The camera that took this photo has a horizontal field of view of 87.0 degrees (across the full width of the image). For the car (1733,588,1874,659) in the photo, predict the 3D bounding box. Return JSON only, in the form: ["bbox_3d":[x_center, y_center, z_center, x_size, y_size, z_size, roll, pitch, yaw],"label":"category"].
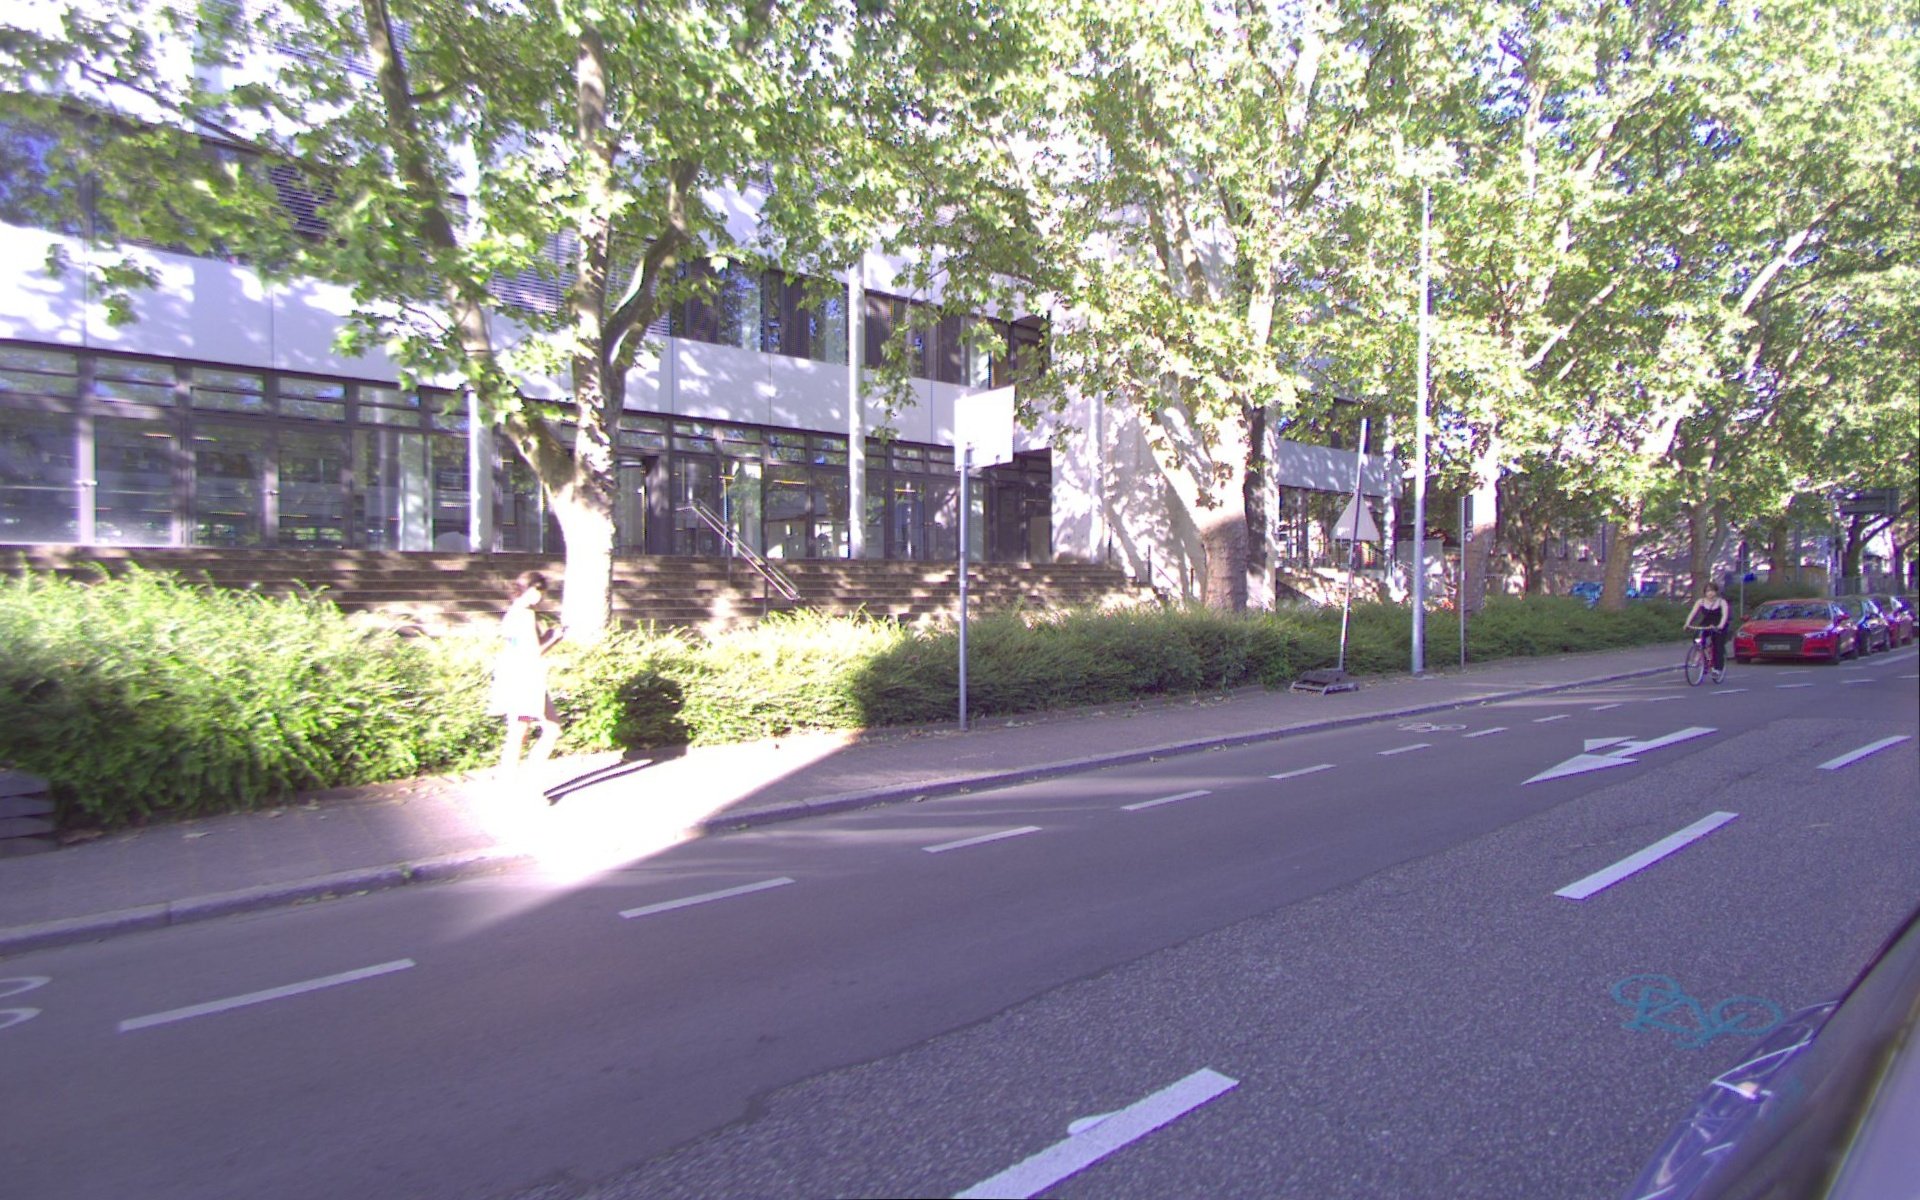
[{"bbox_3d":[19.122,0.463,22.885,4.007,1.461,1.896,-1,1,-42],"label":"car"}]

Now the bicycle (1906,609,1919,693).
[{"bbox_3d":[14.533,0.698,14.763,2.767,1.150,0.769,0,-2,-41],"label":"bicycle"}]

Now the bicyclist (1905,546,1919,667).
[{"bbox_3d":[14.548,0.069,14.857,0.885,1.755,0.769,-1,-3,-41],"label":"bicyclist"}]

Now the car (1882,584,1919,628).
[{"bbox_3d":[33.832,0.192,35.325,4.004,1.469,1.898,-1,1,-39],"label":"car"}]

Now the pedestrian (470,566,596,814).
[{"bbox_3d":[-2.939,0.578,6.968,0.671,1.614,0.462,-1,0,-41],"label":"pedestrian"}]

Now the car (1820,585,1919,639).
[{"bbox_3d":[26.725,0.302,29.447,4.004,1.469,1.898,-1,1,-39],"label":"car"}]

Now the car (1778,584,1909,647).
[{"bbox_3d":[22.645,0.346,25.900,4.004,1.465,1.898,-1,1,-39],"label":"car"}]

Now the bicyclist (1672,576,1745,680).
[{"bbox_3d":[12.697,0.461,17.168,0.880,1.701,0.769,-1,-1,-41],"label":"bicyclist"}]

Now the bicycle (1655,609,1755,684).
[{"bbox_3d":[12.597,0.739,17.071,2.767,1.150,0.769,0,-1,-41],"label":"bicycle"}]
